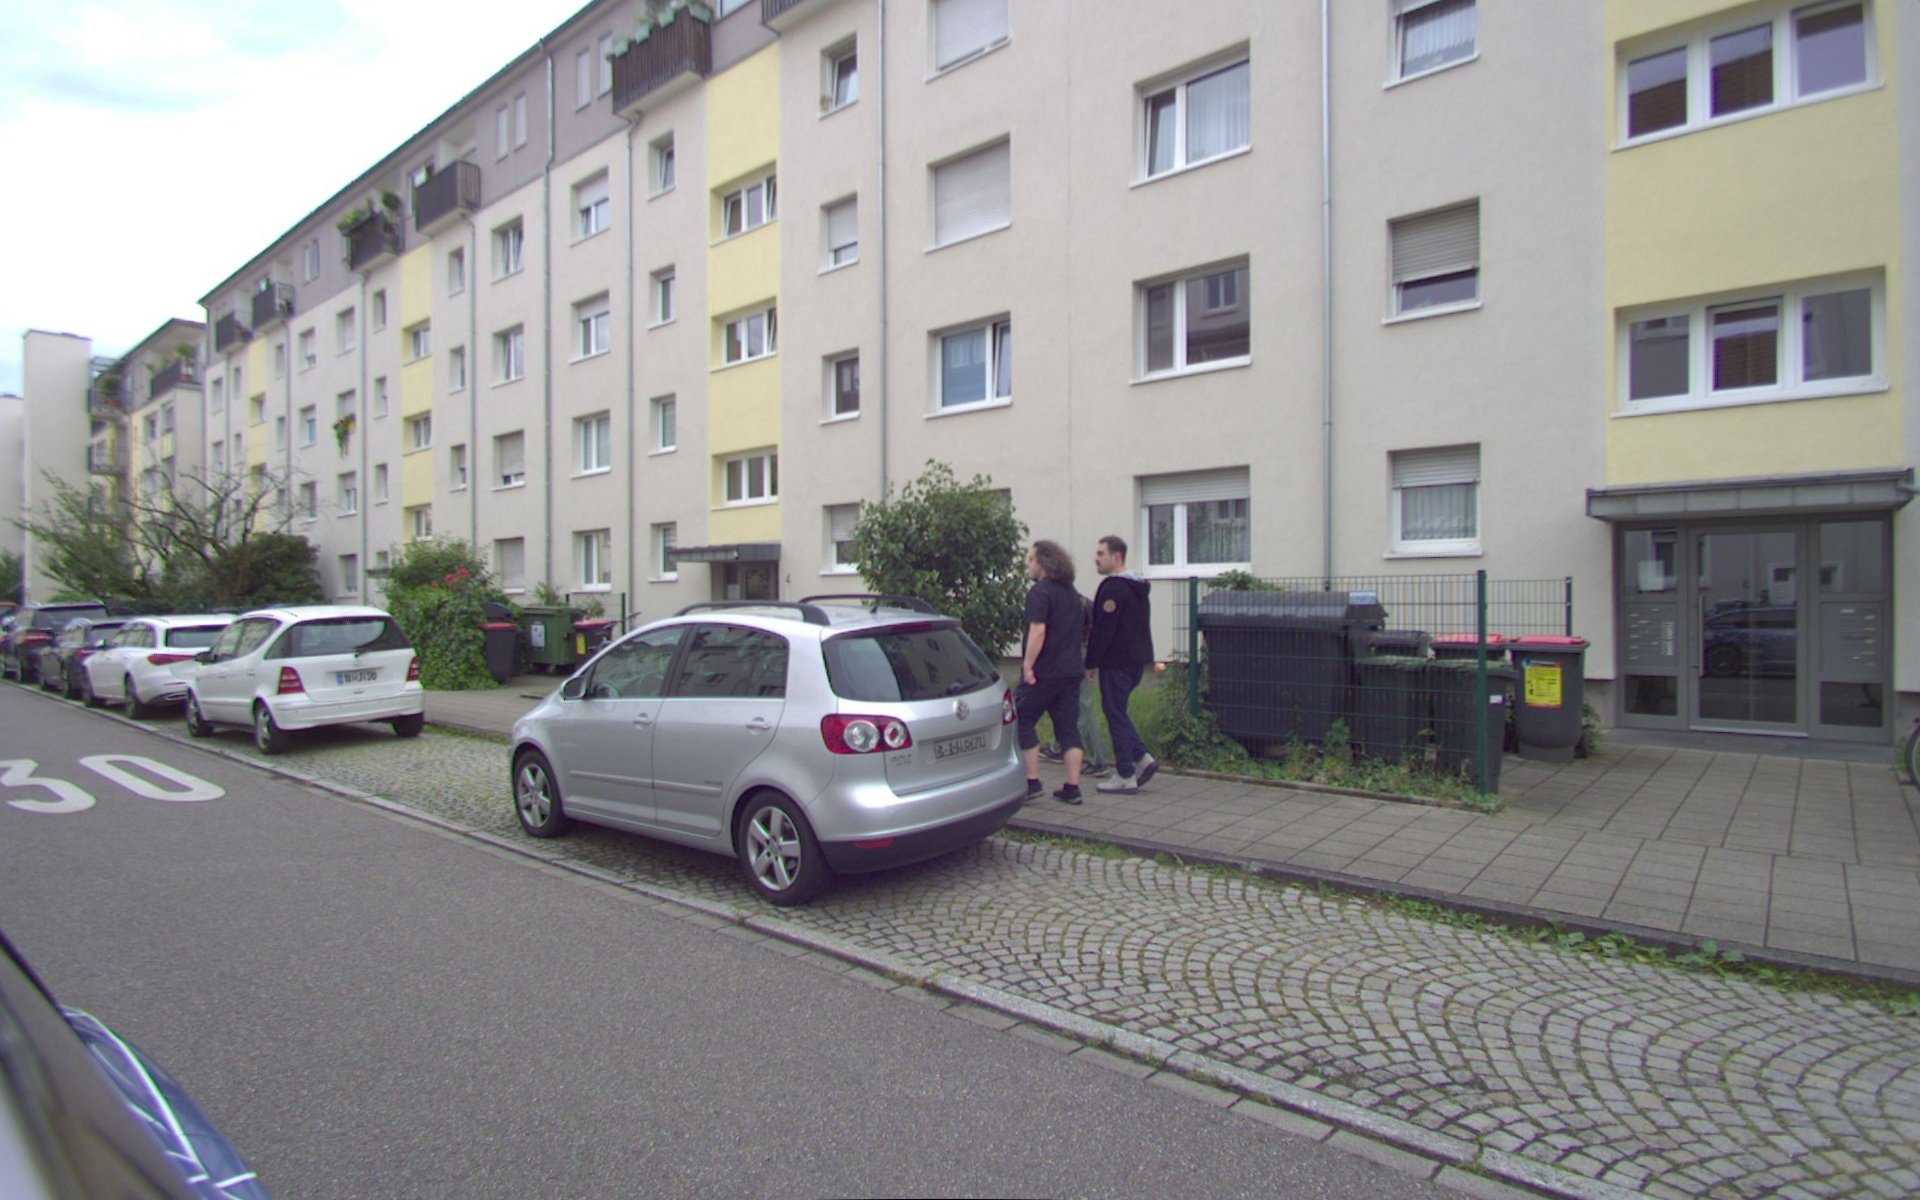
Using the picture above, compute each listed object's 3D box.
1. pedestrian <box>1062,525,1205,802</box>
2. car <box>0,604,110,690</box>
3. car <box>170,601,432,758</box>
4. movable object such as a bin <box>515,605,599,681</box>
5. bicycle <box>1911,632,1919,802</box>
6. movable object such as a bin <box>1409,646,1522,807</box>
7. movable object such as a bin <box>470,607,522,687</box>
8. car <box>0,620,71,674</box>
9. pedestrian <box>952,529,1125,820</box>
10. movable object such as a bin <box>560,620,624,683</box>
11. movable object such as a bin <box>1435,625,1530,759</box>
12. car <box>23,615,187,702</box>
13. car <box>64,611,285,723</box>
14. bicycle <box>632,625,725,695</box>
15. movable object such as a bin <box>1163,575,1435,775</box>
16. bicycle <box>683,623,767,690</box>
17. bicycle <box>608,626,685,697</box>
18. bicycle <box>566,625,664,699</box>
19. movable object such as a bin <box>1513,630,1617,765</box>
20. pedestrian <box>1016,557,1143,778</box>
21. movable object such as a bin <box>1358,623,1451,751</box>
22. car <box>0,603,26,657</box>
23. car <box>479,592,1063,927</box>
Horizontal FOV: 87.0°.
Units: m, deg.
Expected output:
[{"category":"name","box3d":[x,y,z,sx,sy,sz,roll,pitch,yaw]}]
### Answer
[{"category":"pedestrian","box3d":[1.263,0.434,7.365,0.763,1.868,0.699,-1,-1,40]},{"category":"car","box3d":[-21.041,1.041,23.265,4.448,1.793,1.555,-2,-1,40]},{"category":"car","box3d":[-8.179,0.860,12.452,3.724,1.651,1.668,-1,-1,39]},{"category":"movable object such as a bin","box3d":[-7.817,0.810,19.643,1.187,1.385,1.047,1,1,36]},{"category":"bicycle","box3d":[6.965,0.730,5.784,2.174,1.079,0.651,-2,-1,42]},{"category":"movable object such as a bin","box3d":[3.561,0.858,7.128,0.597,1.041,0.531,-2,-1,39]},{"category":"movable object such as a bin","box3d":[-8.353,0.830,18.208,0.587,1.378,0.651,1,1,36]},{"category":"car","box3d":[-25.988,1.276,27.952,3.537,1.407,1.556,-2,-1,38]},{"category":"pedestrian","box3d":[0.544,0.479,7.072,0.973,1.877,0.633,-1,1,41]},{"category":"movable object such as a bin","box3d":[-6.920,0.948,19.049,0.786,1.117,0.861,1,1,36]},{"category":"movable object such as a bin","box3d":[4.705,0.793,9.106,0.597,1.125,0.834,-2,-1,38]},{"category":"car","box3d":[-16.438,1.026,19.375,4.480,1.464,1.707,-1,-1,41]},{"category":"car","box3d":[-12.505,0.979,16.005,4.681,1.521,1.702,-2,-1,38]},{"category":"bicycle","box3d":[-4.366,0.898,15.605,1.753,1.032,0.473,-1,-1,40]},{"category":"movable object such as a bin","box3d":[2.818,0.550,8.391,1.670,1.432,1.573,-2,-1,40]},{"category":"bicycle","box3d":[-3.783,0.888,16.260,1.557,1.032,0.416,-1,-1,38]},{"category":"bicycle","box3d":[-4.745,0.905,15.284,1.496,1.032,0.352,-1,-1,40]},{"category":"bicycle","box3d":[-5.128,0.888,14.990,1.877,1.032,0.483,-1,-1,41]},{"category":"movable object such as a bin","box3d":[5.170,0.795,8.643,0.633,1.059,0.855,-2,-1,39]},{"category":"pedestrian","box3d":[0.959,0.515,8.146,0.802,1.669,0.608,-1,-1,41]},{"category":"movable object such as a bin","box3d":[4.189,0.789,9.523,0.597,1.125,0.834,-2,-1,38]},{"category":"car","box3d":[-33.835,1.051,35.019,3.537,1.820,1.686,-2,-1,38]},{"category":"car","box3d":[-1.421,0.781,6.657,3.911,1.562,1.637,-1,0,40]}]
